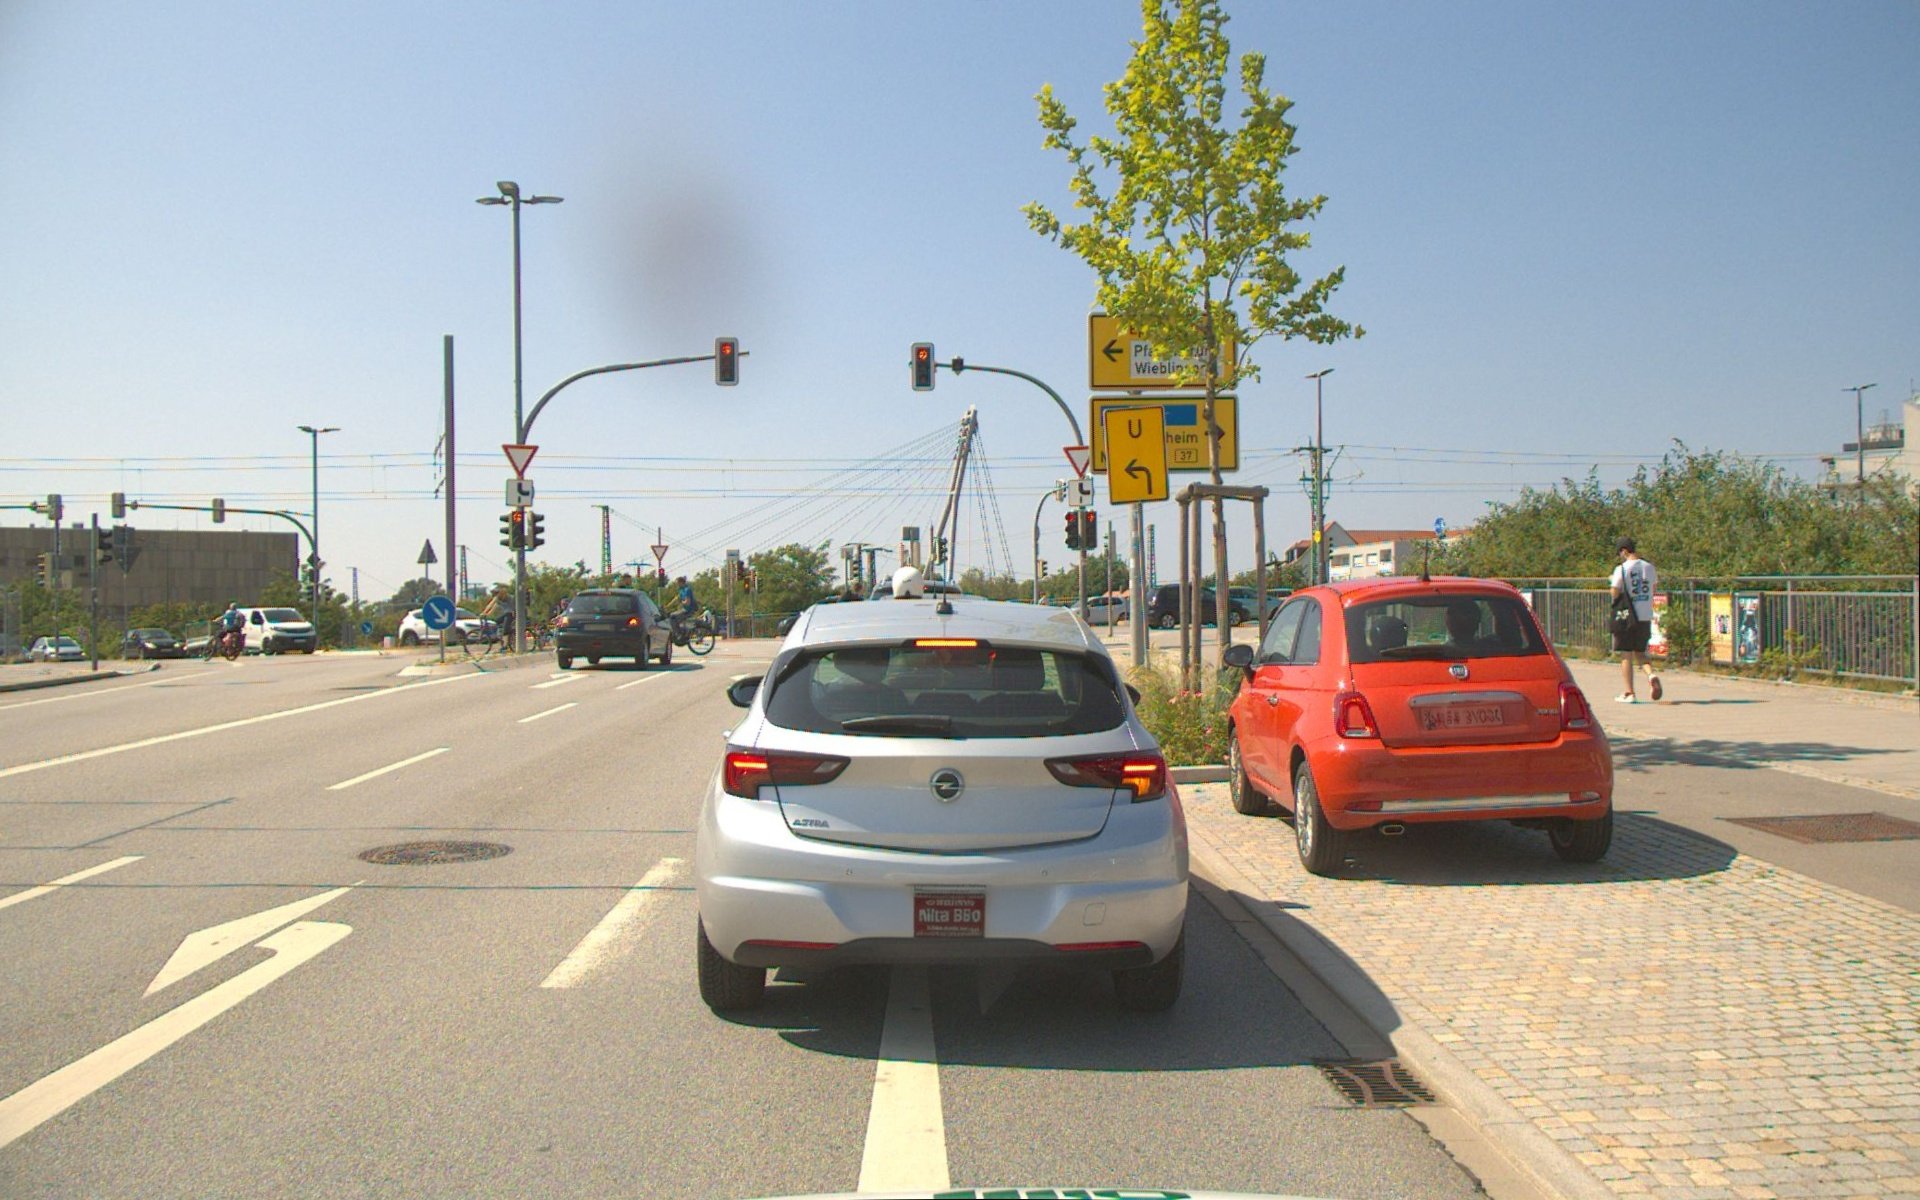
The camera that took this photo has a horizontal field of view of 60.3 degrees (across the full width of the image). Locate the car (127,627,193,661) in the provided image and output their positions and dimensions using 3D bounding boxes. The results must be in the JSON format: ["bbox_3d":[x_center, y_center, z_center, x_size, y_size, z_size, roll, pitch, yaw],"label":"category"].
[{"bbox_3d":[-36.511,2.001,75.450,1.653,1.414,3.727,2,-1,-43],"label":"car"}]

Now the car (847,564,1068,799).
[{"bbox_3d":[-0.063,0.627,14.137,1.602,1.703,3.744,1,-1,-2],"label":"car"}]

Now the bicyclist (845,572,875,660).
[{"bbox_3d":[-2.227,0.356,36.930,0.581,1.920,0.636,1,-1,1],"label":"bicyclist"}]

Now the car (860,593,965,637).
[{"bbox_3d":[-1.766,0.573,62.636,3.893,1.578,1.675,-1,-1,0],"label":"car"}]

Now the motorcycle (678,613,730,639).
[{"bbox_3d":[-12.882,1.310,83.180,2.485,1.255,0.648,1,-1,-2],"label":"motorcycle"}]

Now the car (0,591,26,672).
[{"bbox_3d":[-25.597,0.792,43.608,1.652,2.049,3.960,2,-1,-30],"label":"car"}]

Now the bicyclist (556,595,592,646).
[{"bbox_3d":[-9.108,0.485,39.078,0.643,1.196,0.731,1,-1,0],"label":"bicyclist"}]

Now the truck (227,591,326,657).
[{"bbox_3d":[-27.808,0.946,67.223,4.627,2.585,1.987,1,0,43],"label":"truck"}]

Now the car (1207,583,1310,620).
[{"bbox_3d":[11.669,0.042,64.750,3.718,1.386,1.530,-1,0,-7],"label":"car"}]

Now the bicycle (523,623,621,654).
[{"bbox_3d":[-9.155,0.912,39.076,2.200,0.704,0.516,0,0,-1],"label":"bicycle"}]

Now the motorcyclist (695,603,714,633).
[{"bbox_3d":[-12.837,0.893,83.210,0.792,1.502,0.885,1,-1,-1],"label":"motorcyclist"}]

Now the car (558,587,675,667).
[{"bbox_3d":[-6.367,0.495,30.960,1.555,1.419,3.338,0,-1,-1],"label":"car"}]

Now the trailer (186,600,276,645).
[{"bbox_3d":[-30.941,0.935,70.145,4.211,1.807,1.987,1,-1,43],"label":"trailer"}]

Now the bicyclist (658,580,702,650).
[{"bbox_3d":[-6.528,0.355,38.572,0.805,1.587,0.863,1,-1,2],"label":"bicyclist"}]

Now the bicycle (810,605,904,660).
[{"bbox_3d":[-2.291,0.721,36.919,2.038,1.198,0.555,1,-1,0],"label":"bicycle"}]

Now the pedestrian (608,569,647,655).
[{"bbox_3d":[-7.462,0.273,37.144,0.725,1.896,0.753,1,-1,-4],"label":"pedestrian"}]

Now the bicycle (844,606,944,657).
[{"bbox_3d":[-1.553,0.745,39.262,2.308,1.147,0.677,1,-1,3],"label":"bicycle"}]

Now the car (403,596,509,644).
[{"bbox_3d":[-20.368,0.804,66.831,3.957,1.846,1.928,0,-1,30],"label":"car"}]

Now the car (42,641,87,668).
[{"bbox_3d":[-45.394,2.748,83.827,2.441,1.262,1.271,0,-1,43],"label":"car"}]

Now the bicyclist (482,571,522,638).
[{"bbox_3d":[-10.576,0.112,38.200,0.643,1.528,0.843,1,-1,0],"label":"bicyclist"}]

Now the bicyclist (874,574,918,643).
[{"bbox_3d":[-1.509,0.206,39.231,0.925,1.596,0.823,1,-1,3],"label":"bicyclist"}]

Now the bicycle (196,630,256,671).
[{"bbox_3d":[-21.798,1.489,49.118,2.281,1.153,0.634,0,-1,38],"label":"bicycle"}]

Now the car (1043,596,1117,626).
[{"bbox_3d":[5.603,0.530,77.590,3.156,1.327,1.519,1,-1,-13],"label":"car"}]

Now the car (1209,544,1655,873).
[{"bbox_3d":[2.630,0.554,10.157,1.635,1.567,3.917,-2,-1,1],"label":"car"}]

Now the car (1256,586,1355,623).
[{"bbox_3d":[16.360,0.226,78.345,4.180,1.703,1.990,1,0,-18],"label":"car"}]

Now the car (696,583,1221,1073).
[{"bbox_3d":[-0.052,0.725,7.381,1.656,1.546,4.269,0,0,-1],"label":"car"}]

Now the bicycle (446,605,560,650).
[{"bbox_3d":[-10.543,0.640,38.200,2.453,1.025,0.605,0,-1,-1],"label":"bicycle"}]

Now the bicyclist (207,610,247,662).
[{"bbox_3d":[-21.757,1.058,49.110,0.707,1.530,0.821,0,-1,37],"label":"bicyclist"}]

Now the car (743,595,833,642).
[{"bbox_3d":[-7.921,0.862,76.340,3.905,2.049,2.000,1,-1,0],"label":"car"}]

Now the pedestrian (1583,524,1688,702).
[{"bbox_3d":[7.268,0.142,17.828,0.743,1.862,0.885,1,-1,-1],"label":"pedestrian"}]

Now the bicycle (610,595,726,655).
[{"bbox_3d":[-6.801,0.583,38.577,2.472,1.153,0.729,-5,2,2],"label":"bicycle"}]

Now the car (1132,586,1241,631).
[{"bbox_3d":[8.329,0.311,60.950,3.674,1.611,1.812,0,0,-5],"label":"car"}]
